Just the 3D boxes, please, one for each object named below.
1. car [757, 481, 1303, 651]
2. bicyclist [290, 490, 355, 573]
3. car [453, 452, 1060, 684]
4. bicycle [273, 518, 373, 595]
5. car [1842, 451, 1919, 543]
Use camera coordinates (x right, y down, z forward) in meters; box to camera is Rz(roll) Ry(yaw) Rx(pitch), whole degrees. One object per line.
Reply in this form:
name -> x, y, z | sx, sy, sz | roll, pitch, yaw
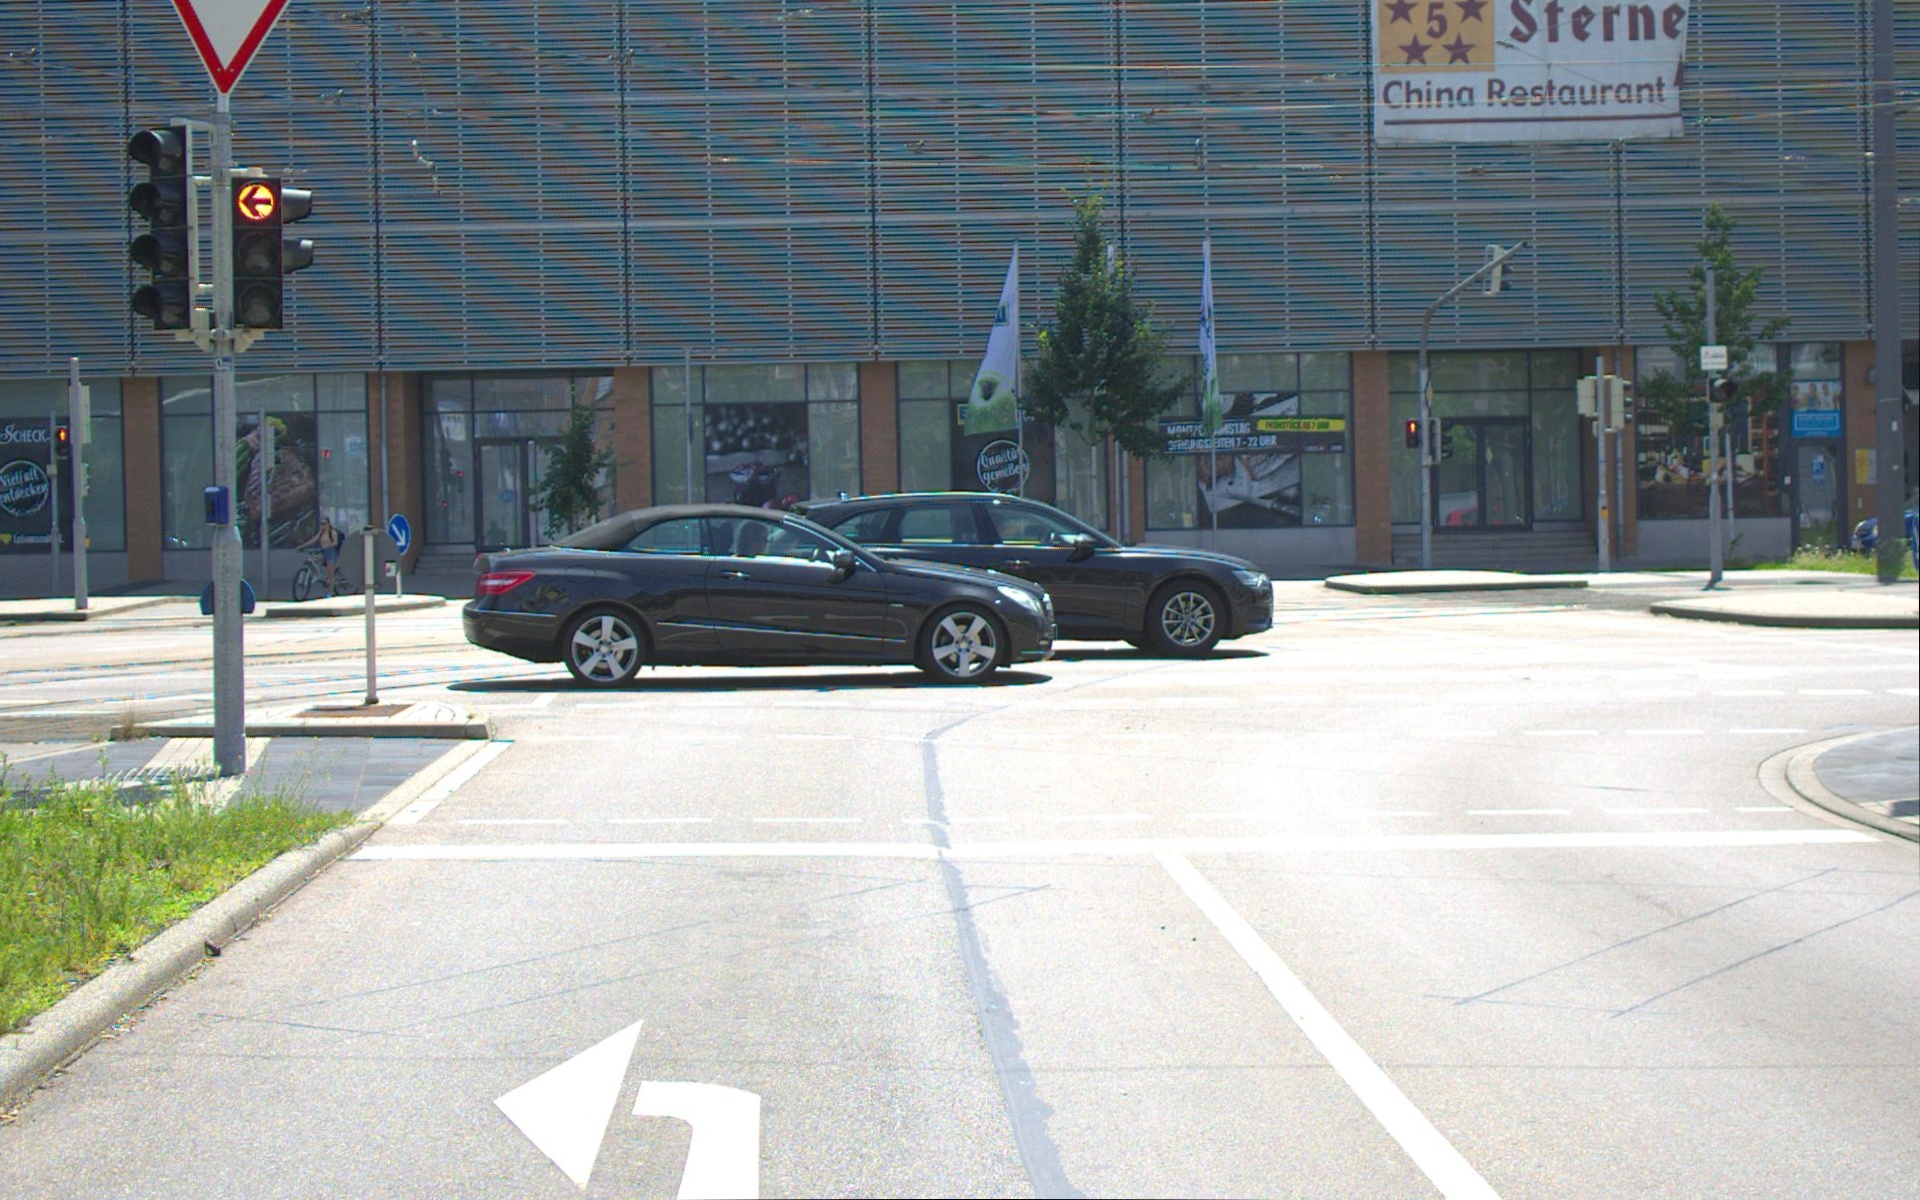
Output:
car -> 0.565, -0.332, 30.865 | 4.764, 1.455, 1.888 | 0, 2, -3
bicyclist -> -12.171, -1.321, 65.641 | 1.040, 1.566, 0.777 | 0, 2, 6
car -> -1.595, -0.290, 27.160 | 4.548, 1.571, 2.001 | -3, 2, -3
bicycle -> -12.162, -0.850, 65.752 | 1.062, 1.385, 3.023 | 0, 2, 6
car -> 17.113, -1.744, 57.891 | 3.986, 1.533, 1.882 | 0, 2, -3
